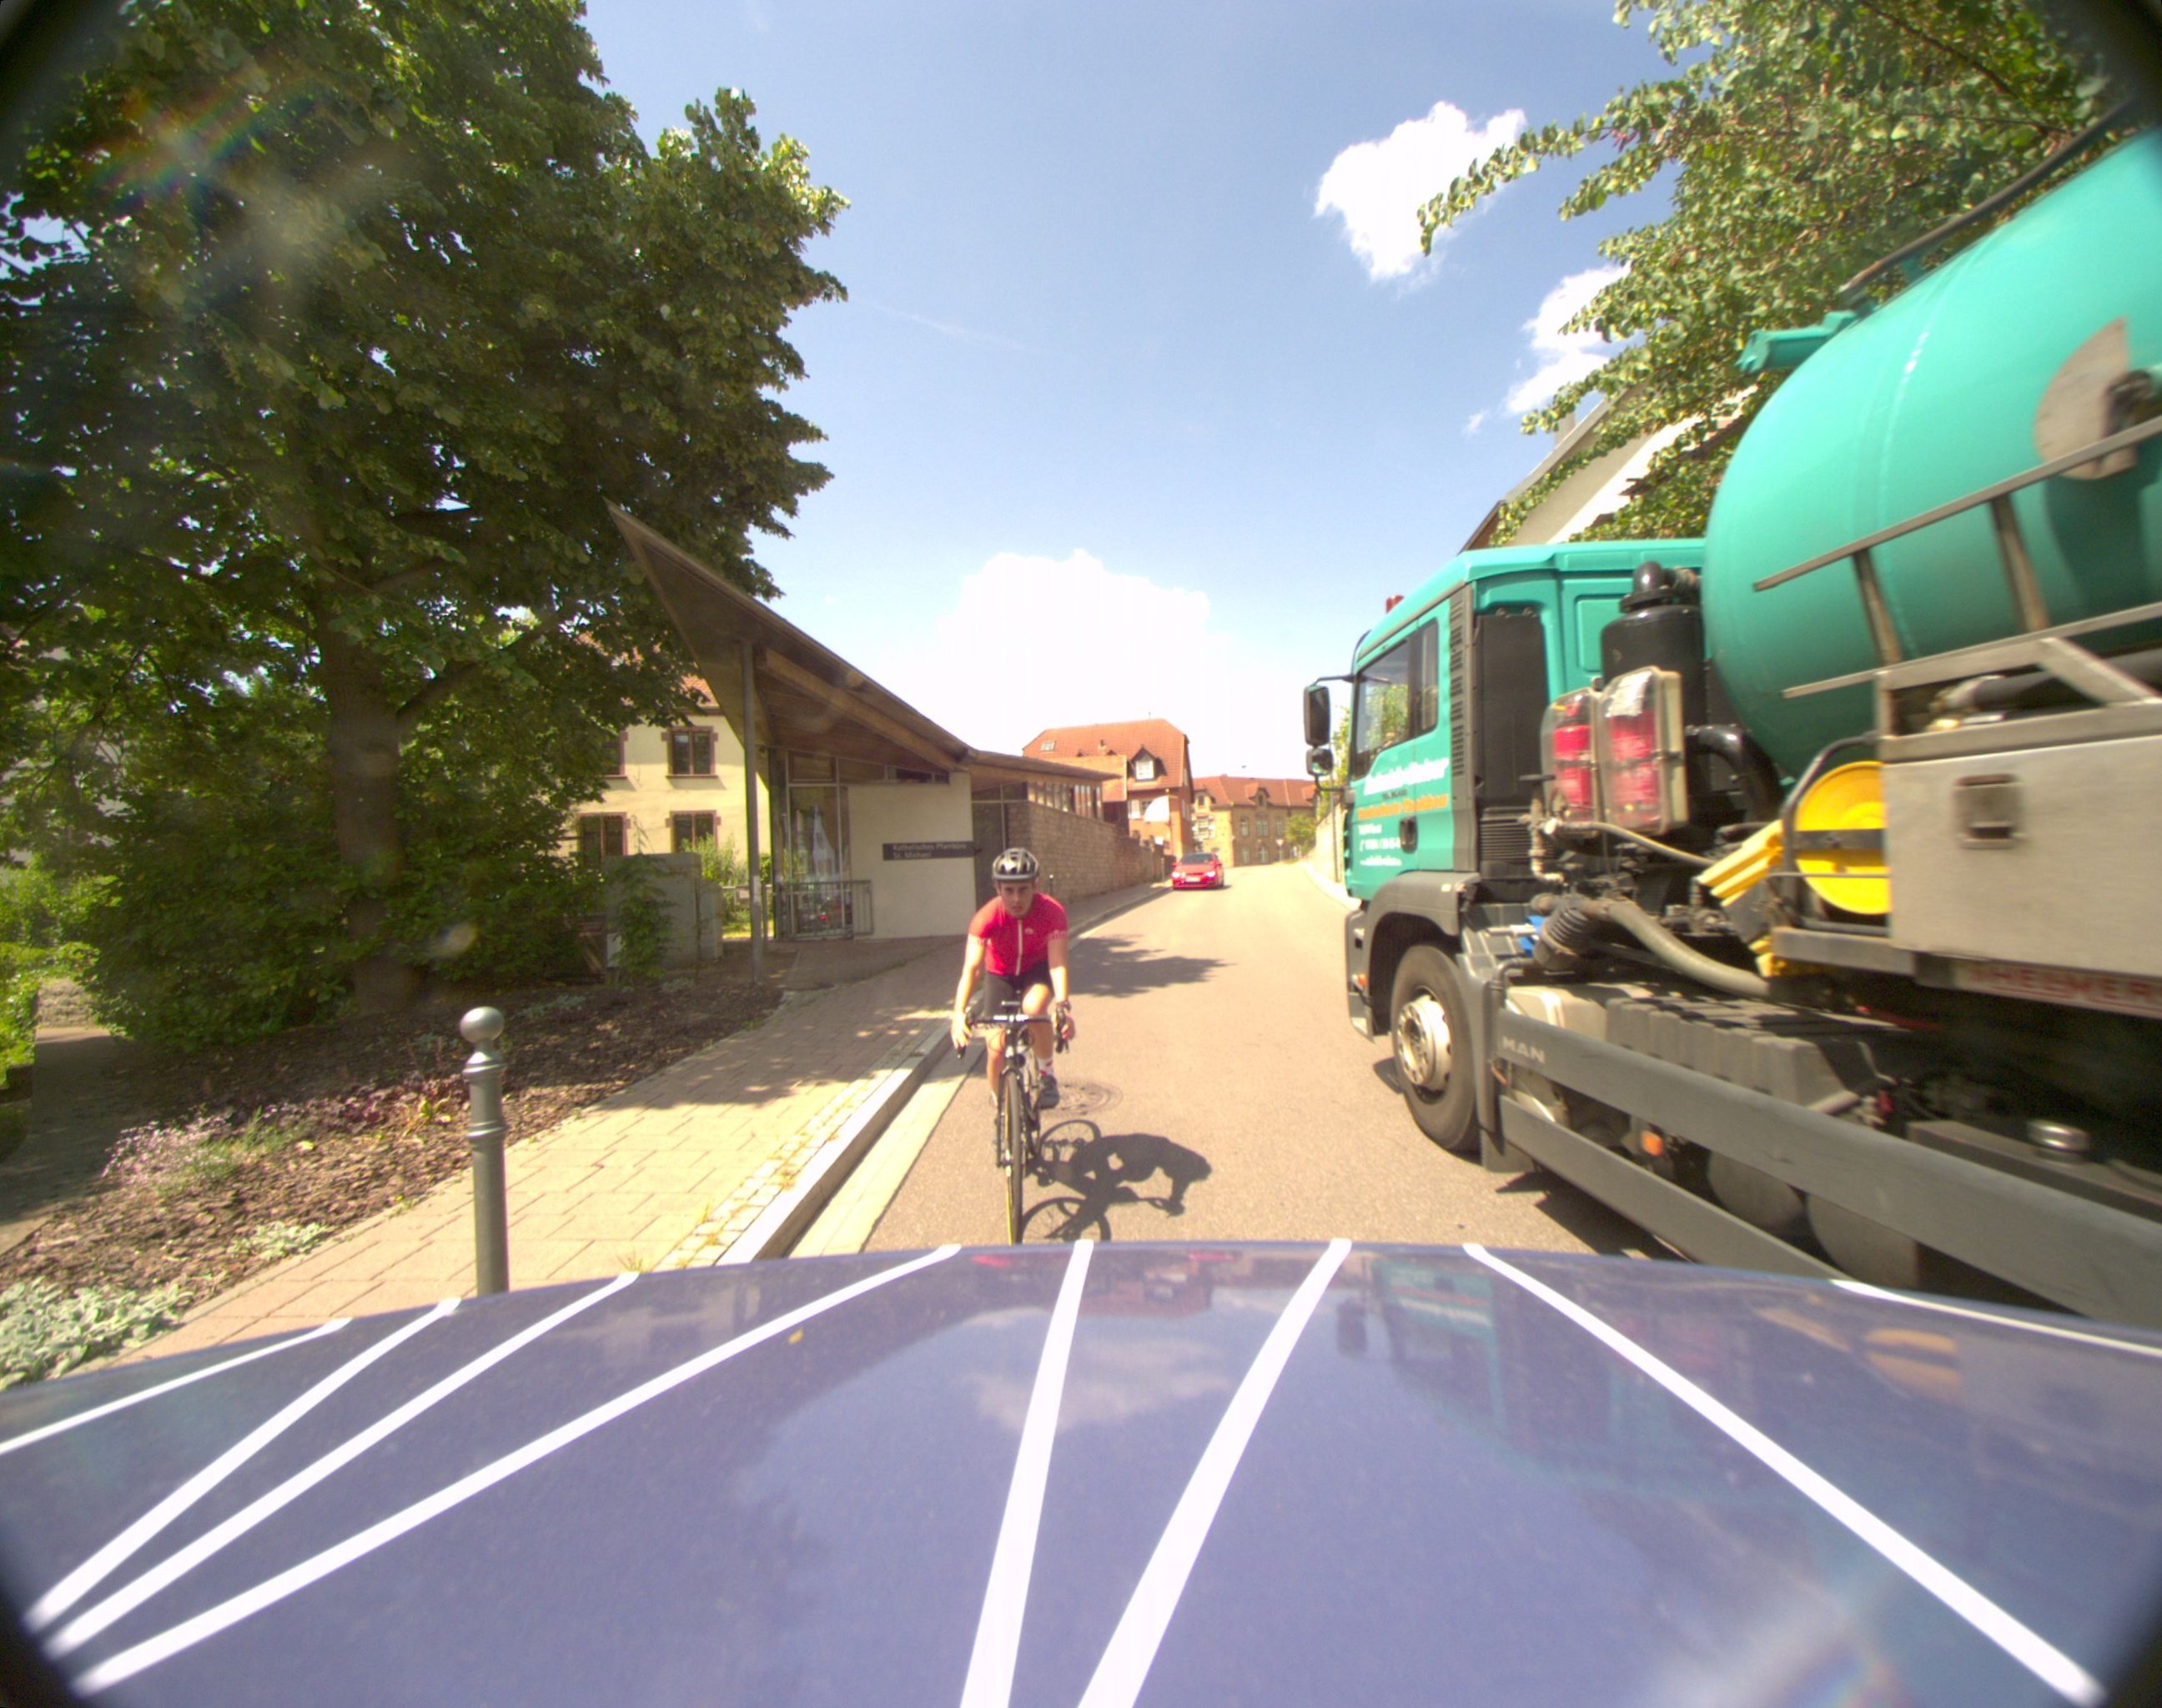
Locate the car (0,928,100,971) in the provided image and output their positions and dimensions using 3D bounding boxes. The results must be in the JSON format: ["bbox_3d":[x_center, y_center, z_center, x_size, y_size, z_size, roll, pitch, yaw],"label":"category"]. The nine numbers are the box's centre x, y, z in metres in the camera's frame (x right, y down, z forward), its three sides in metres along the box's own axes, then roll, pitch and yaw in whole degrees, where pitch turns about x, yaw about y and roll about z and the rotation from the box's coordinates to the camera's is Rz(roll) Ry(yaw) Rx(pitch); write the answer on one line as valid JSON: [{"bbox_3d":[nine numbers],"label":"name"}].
[{"bbox_3d":[-45.242,4.150,33.042,1.673,1.495,3.803,-3,-1,-27],"label":"car"}]

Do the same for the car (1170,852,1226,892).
[{"bbox_3d":[4.526,0.647,28.995,1.667,1.344,3.498,-2,0,15],"label":"car"}]

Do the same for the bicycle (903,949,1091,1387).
[{"bbox_3d":[-0.301,1.078,3.336,0.531,1.070,2.053,-2,0,-3],"label":"bicycle"}]

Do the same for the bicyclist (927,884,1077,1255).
[{"bbox_3d":[-0.323,0.847,3.329,0.532,1.396,0.755,-2,0,-3],"label":"bicyclist"}]

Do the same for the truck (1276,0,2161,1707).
[{"bbox_3d":[2.733,-0.263,1.161,2.418,3.636,9.568,-1,-1,0],"label":"truck"}]
